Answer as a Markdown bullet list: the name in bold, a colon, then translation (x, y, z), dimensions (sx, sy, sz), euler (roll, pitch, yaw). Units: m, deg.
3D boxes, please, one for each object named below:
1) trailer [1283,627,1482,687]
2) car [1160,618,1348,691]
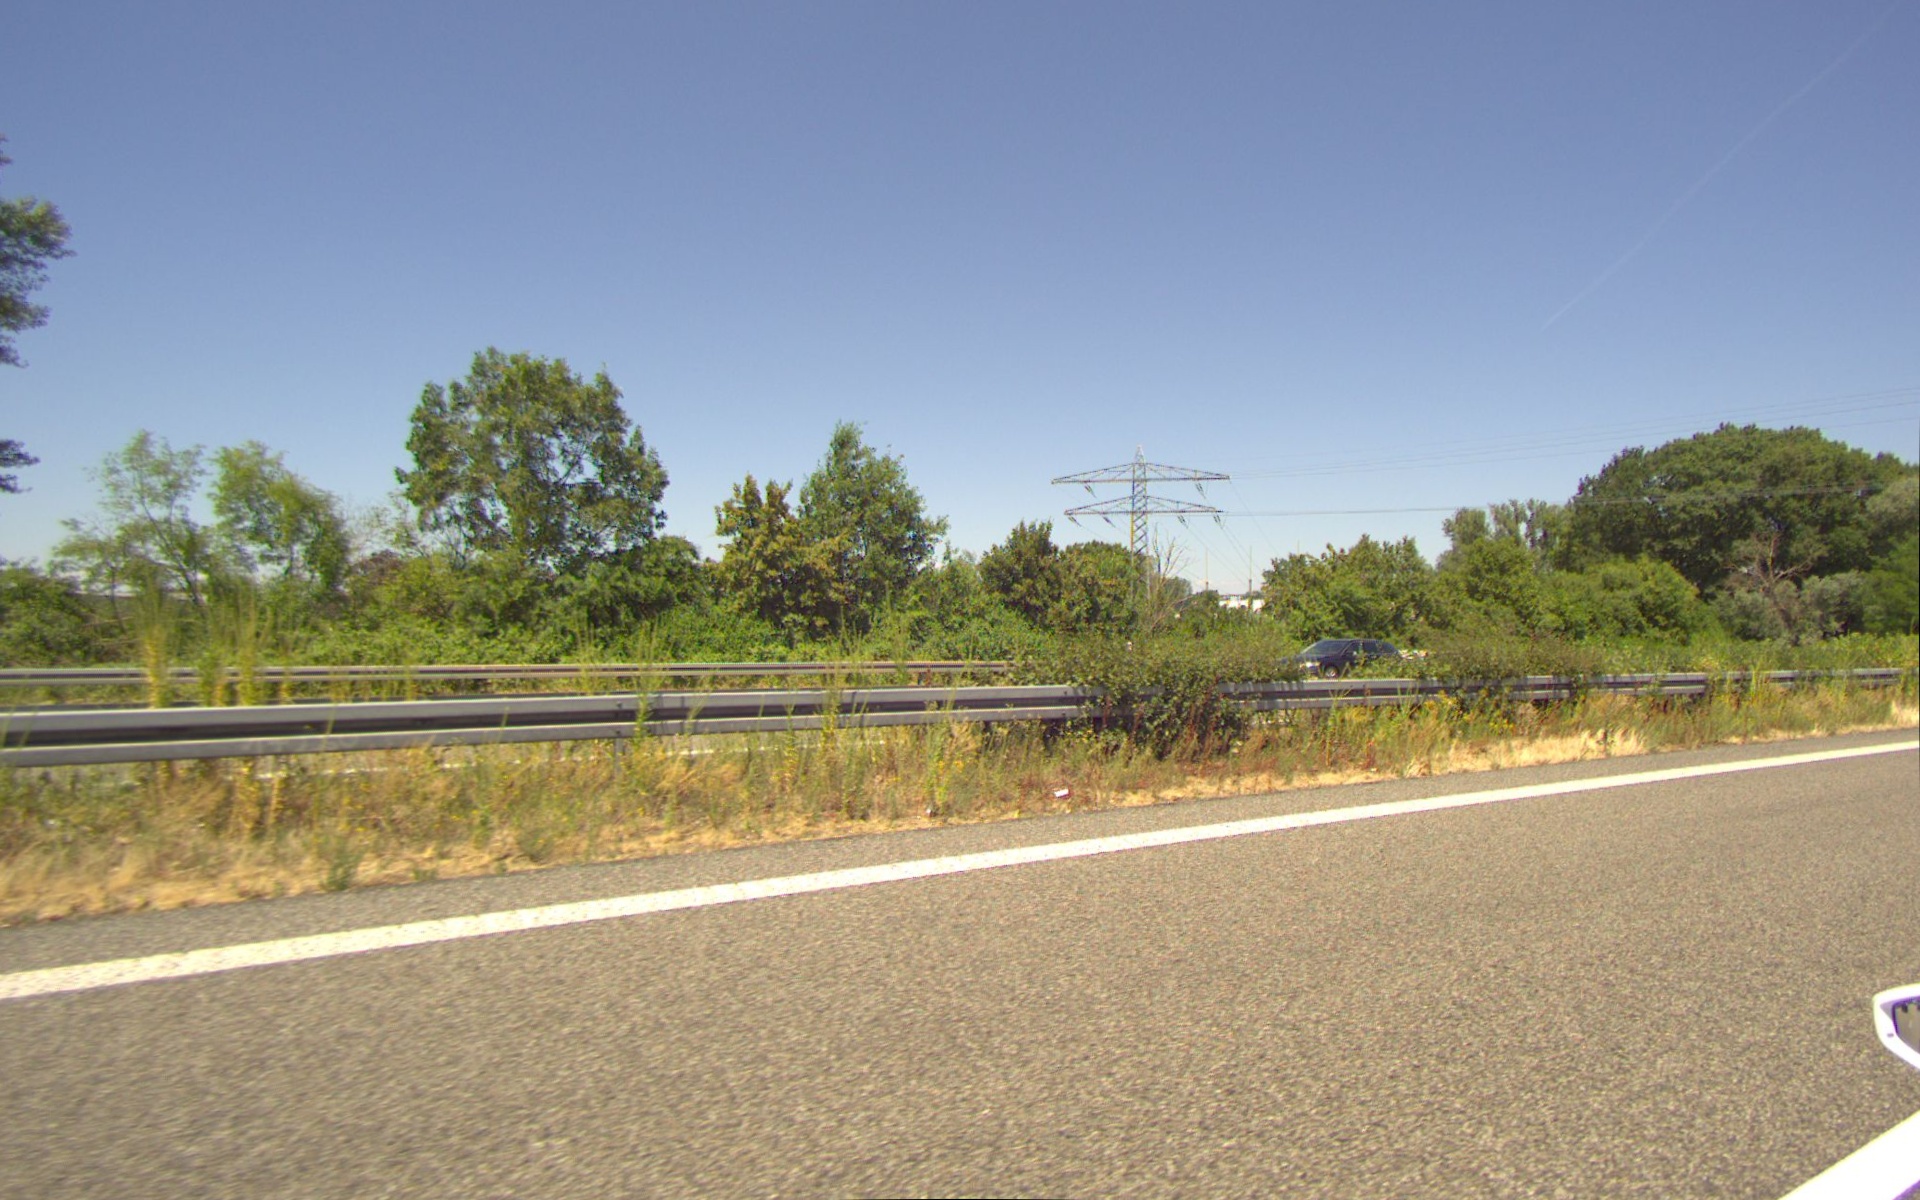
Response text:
- **trailer**: translation (13.348, 1.732, 31.589), dimensions (6.414, 1.706, 2.477), euler (1, -1, -31)
- **car**: translation (8.403, 1.501, 28.639), dimensions (4.970, 1.897, 2.442), euler (1, -1, -30)
